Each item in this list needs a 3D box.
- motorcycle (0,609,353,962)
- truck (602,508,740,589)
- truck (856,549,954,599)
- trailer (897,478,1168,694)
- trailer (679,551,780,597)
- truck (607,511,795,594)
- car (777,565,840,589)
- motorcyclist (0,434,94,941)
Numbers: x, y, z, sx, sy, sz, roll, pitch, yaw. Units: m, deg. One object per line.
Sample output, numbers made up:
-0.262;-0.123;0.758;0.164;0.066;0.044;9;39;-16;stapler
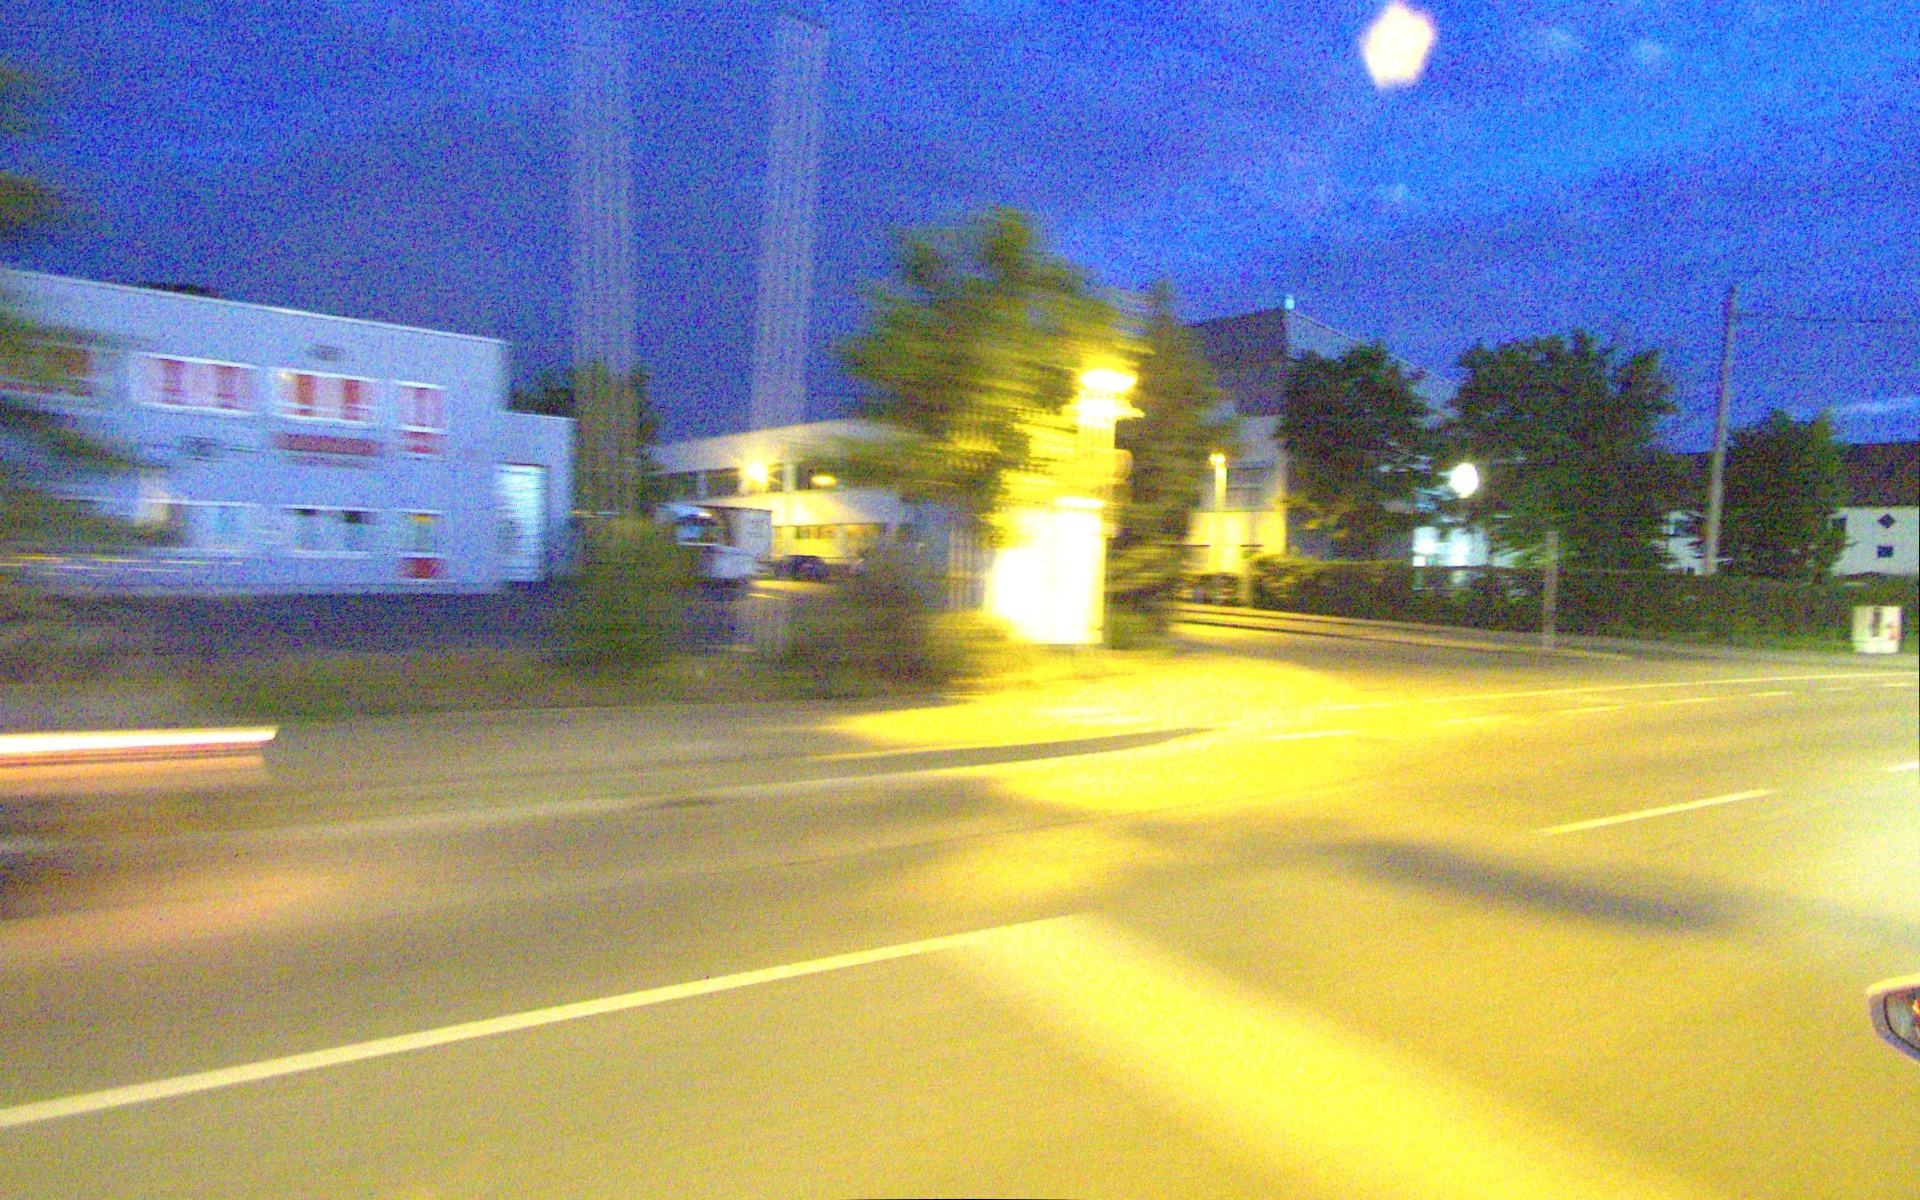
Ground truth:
-4.177;0.718;4.119;2.800;1.322;0.990;1;1;-37;motorcycle
-15.130;-2.462;51.966;2.855;3.776;9.479;0;0;-44;truck
-2.874;-1.362;51.690;4.971;2.422;2.151;4;3;43;truck
0.908;-0.181;15.180;1.977;2.756;4.326;0;0;-31;trailer
-9.190;-1.051;39.752;1.863;1.644;5.182;0;3;-38;trailer
-17.443;-3.177;65.863;17.159;4.875;3.458;4;3;44;truck
-8.626;-1.313;56.949;3.520;1.261;1.771;3;2;44;car
-4.157;0.314;4.111;0.826;1.925;1.125;1;2;-37;motorcyclist
